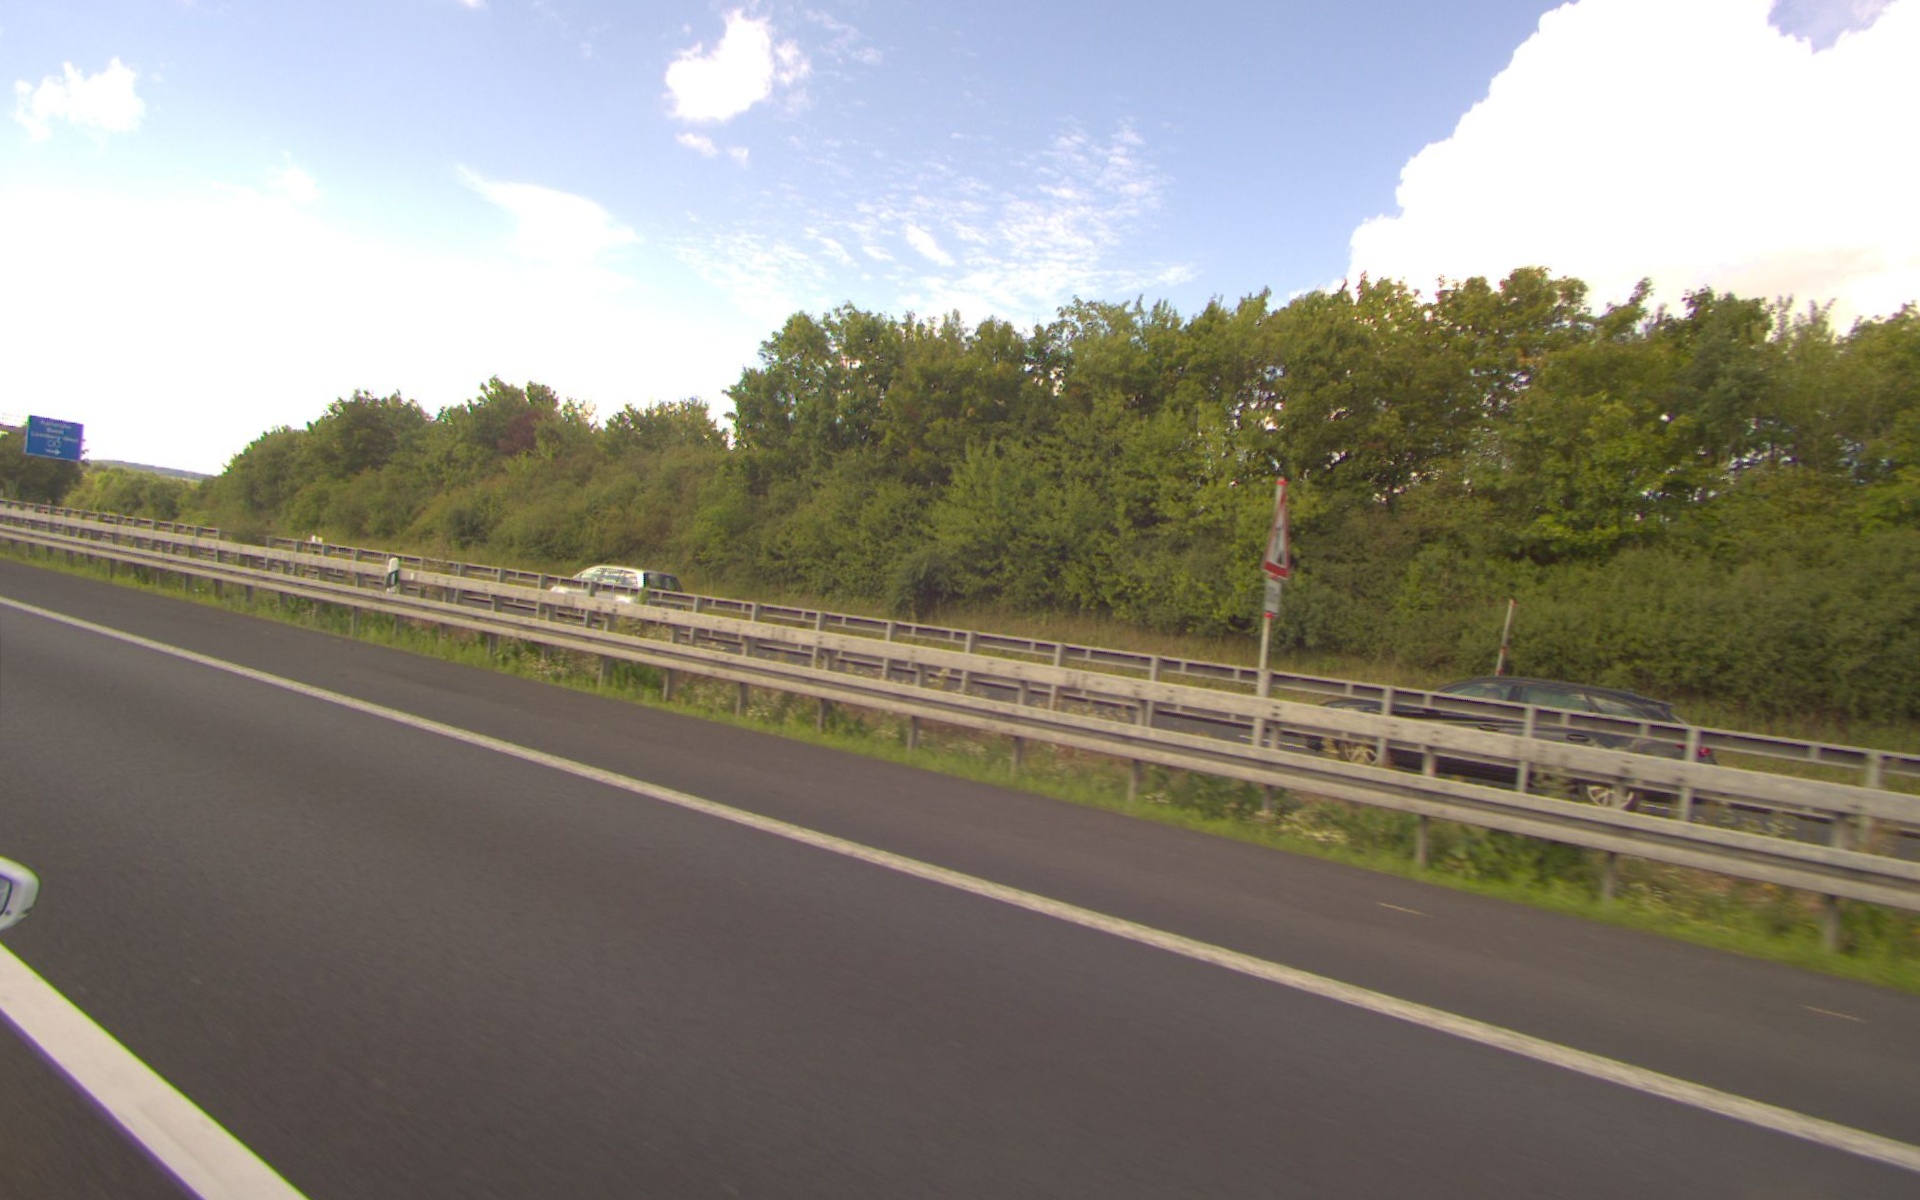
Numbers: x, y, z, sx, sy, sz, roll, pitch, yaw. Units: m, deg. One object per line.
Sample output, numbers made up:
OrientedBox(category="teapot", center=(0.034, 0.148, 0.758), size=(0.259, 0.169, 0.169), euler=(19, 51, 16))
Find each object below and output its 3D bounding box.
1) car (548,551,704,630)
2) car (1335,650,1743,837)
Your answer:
OrientedBox(category="car", center=(-9.345, -0.268, 28.098), size=(3.934, 1.730, 1.995), euler=(6, 1, 32))
OrientedBox(category="car", center=(6.962, 1.626, 12.451), size=(3.933, 1.502, 1.996), euler=(6, 0, 31))
